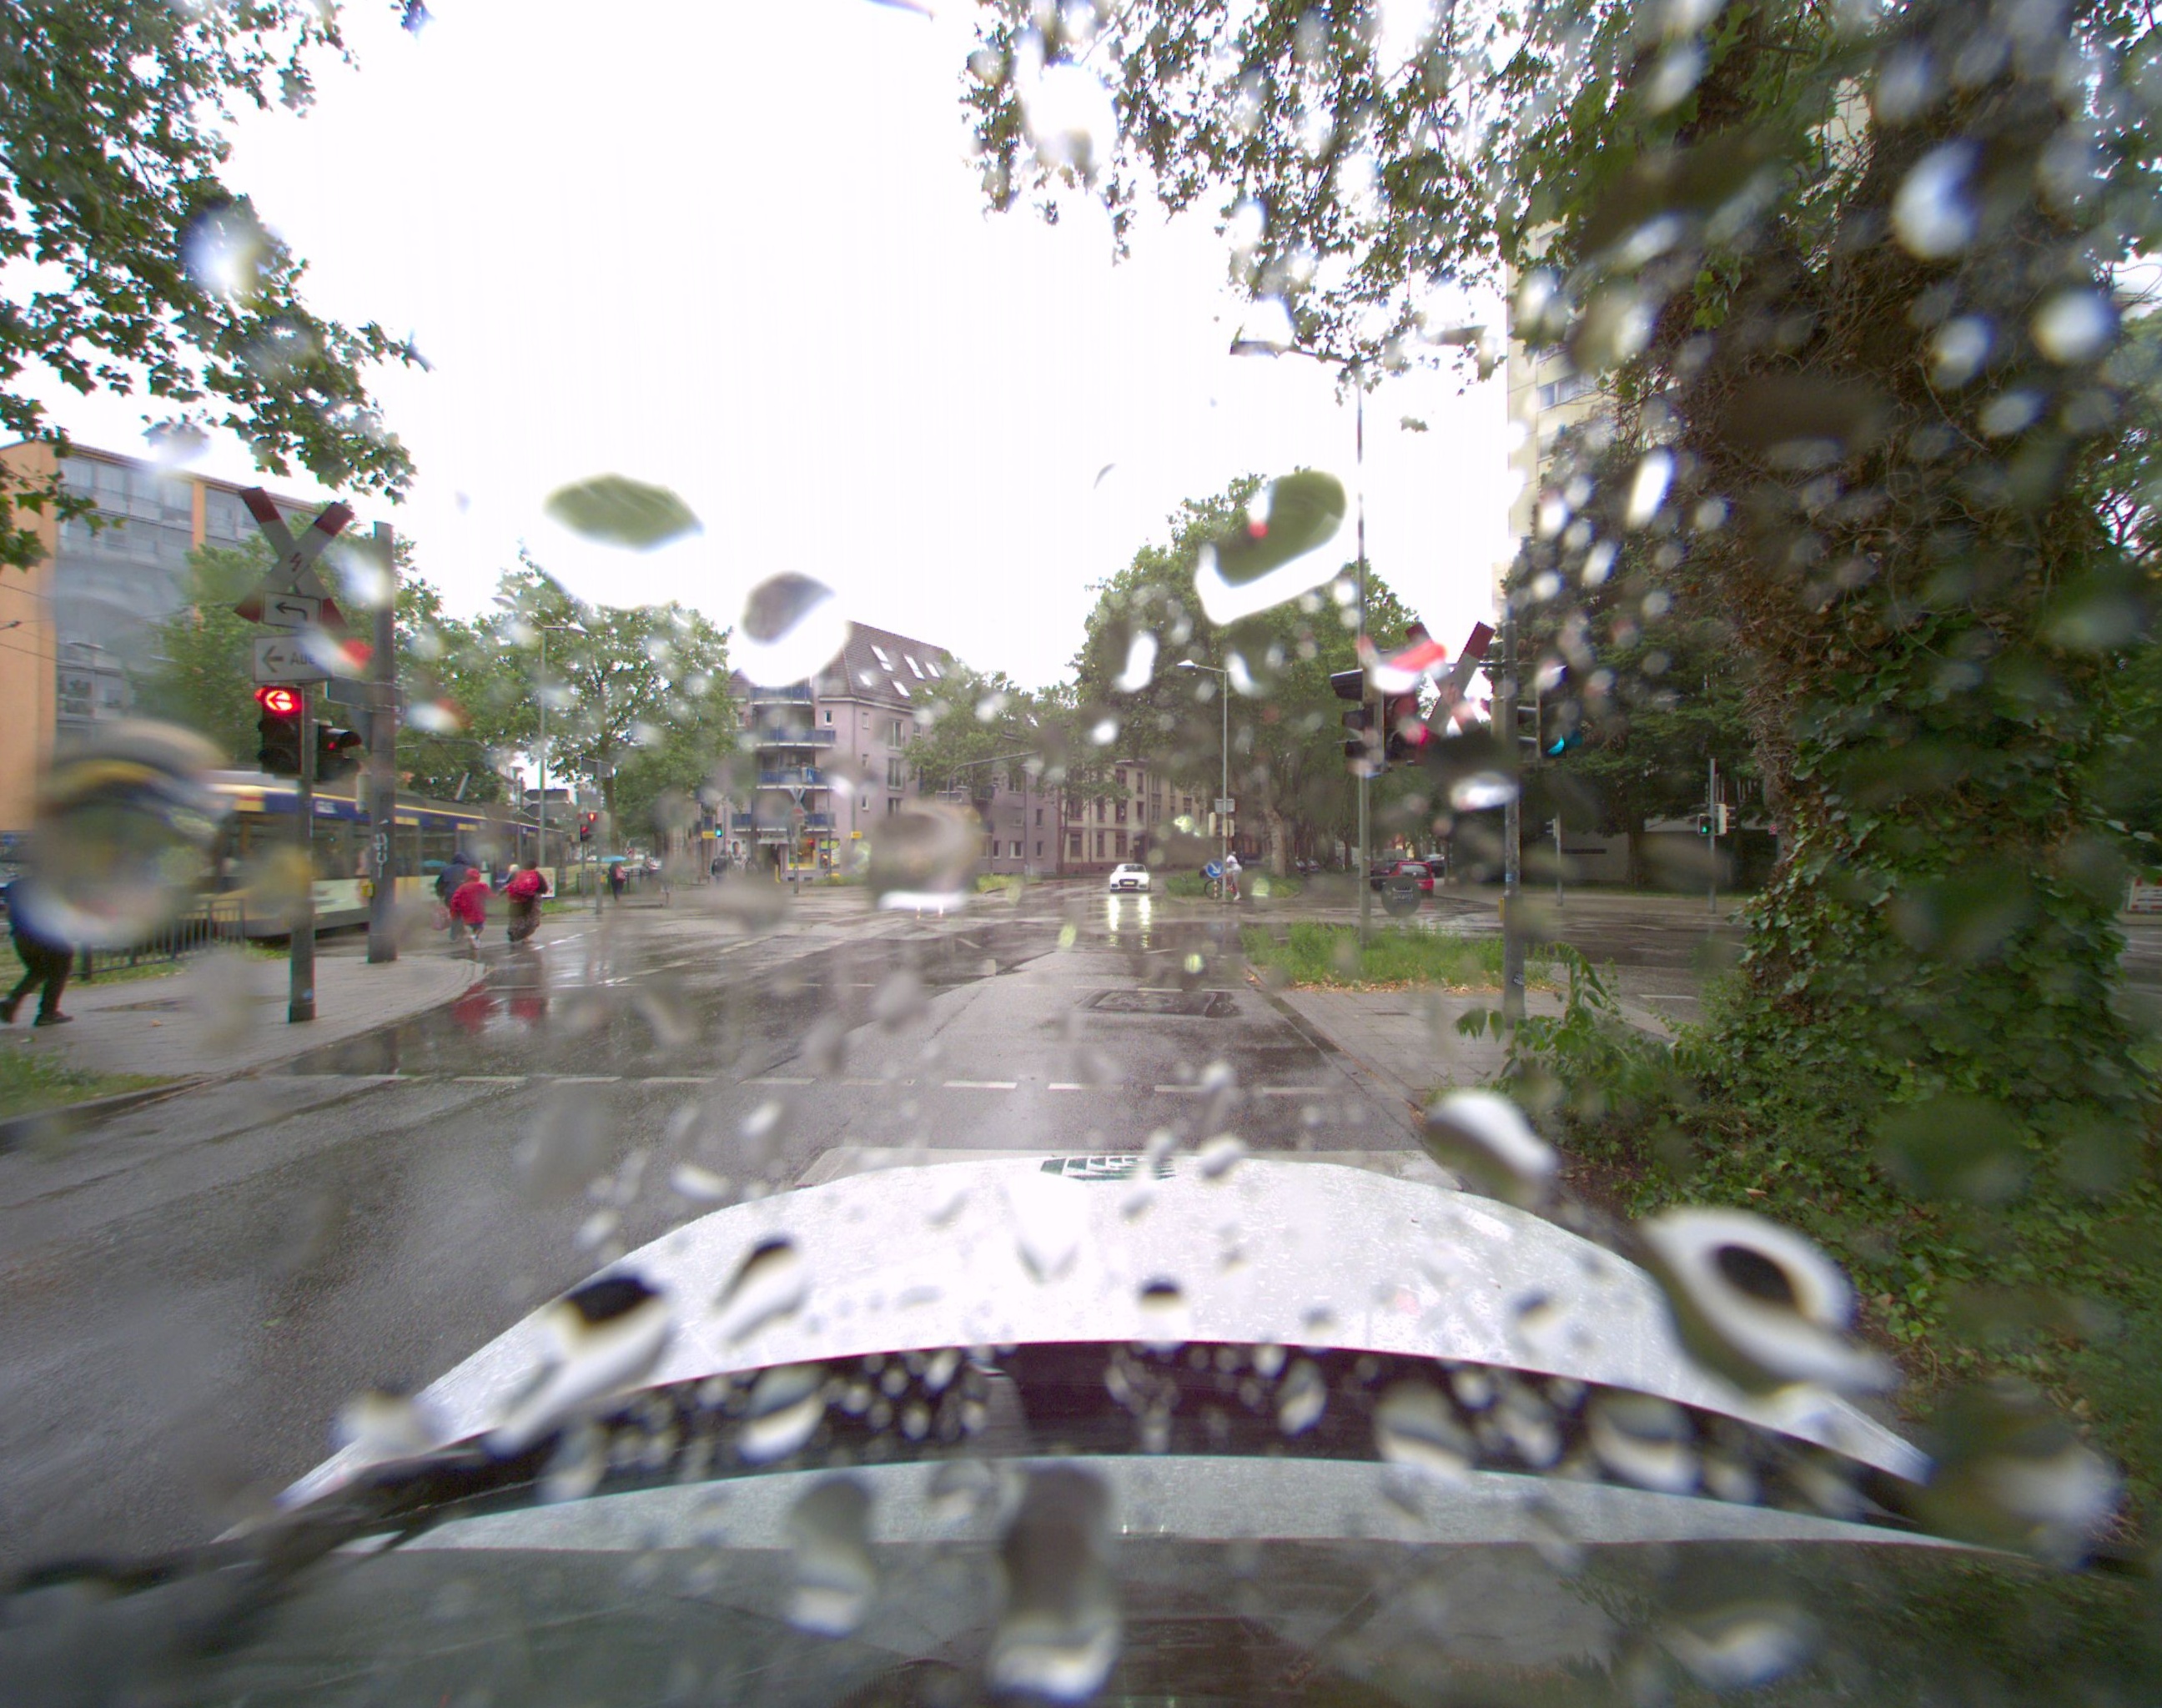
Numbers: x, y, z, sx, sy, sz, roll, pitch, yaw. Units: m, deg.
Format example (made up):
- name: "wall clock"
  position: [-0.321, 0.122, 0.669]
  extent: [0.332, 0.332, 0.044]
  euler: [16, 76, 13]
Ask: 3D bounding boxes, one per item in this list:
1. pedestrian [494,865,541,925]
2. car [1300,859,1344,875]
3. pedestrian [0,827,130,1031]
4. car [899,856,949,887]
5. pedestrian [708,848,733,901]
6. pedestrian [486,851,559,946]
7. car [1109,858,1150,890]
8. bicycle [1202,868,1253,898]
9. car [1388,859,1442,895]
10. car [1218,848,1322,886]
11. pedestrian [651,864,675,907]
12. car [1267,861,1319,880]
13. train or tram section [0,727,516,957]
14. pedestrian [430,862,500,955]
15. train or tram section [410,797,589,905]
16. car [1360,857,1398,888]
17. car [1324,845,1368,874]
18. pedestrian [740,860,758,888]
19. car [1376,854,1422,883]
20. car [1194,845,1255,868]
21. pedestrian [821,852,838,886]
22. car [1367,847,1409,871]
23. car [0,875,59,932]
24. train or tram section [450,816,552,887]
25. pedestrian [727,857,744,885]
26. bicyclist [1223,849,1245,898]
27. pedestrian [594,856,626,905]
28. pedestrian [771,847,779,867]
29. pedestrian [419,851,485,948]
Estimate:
- name: "pedestrian"
  position: [-12.923, 0.929, 18.699]
  extent: [0.657, 1.349, 0.706]
  euler: [0, 0, -12]
- name: "car"
  position: [23.134, 1.257, 78.250]
  extent: [3.958, 1.547, 2.008]
  euler: [-1, -1, 14]
- name: "pedestrian"
  position: [-9.998, 0.684, 7.922]
  extent: [0.876, 1.864, 0.881]
  euler: [0, 0, -43]
- name: "car"
  position: [-8.010, 0.855, 41.831]
  extent: [1.745, 1.512, 3.839]
  euler: [0, 0, 1]
- name: "pedestrian"
  position: [-12.889, 0.733, 29.103]
  extent: [0.791, 1.855, 0.676]
  euler: [0, 0, -22]
- name: "pedestrian"
  position: [-10.020, 0.779, 14.645]
  extent: [0.728, 1.624, 0.816]
  euler: [-1, 1, -5]
- name: "car"
  position: [2.348, 0.937, 39.189]
  extent: [1.876, 1.436, 4.004]
  euler: [0, 0, 4]
- name: "bicycle"
  position: [5.455, 1.069, 30.388]
  extent: [1.862, 1.081, 0.658]
  euler: [-1, -1, 9]
- name: "car"
  position: [14.823, 0.982, 36.324]
  extent: [1.778, 1.498, 4.017]
  euler: [0, 0, 16]
- name: "car"
  position: [7.586, 0.520, 32.694]
  extent: [3.958, 1.486, 2.008]
  euler: [-1, -1, 14]
- name: "pedestrian"
  position: [-13.738, 1.017, 26.762]
  extent: [0.653, 1.396, 0.774]
  euler: [0, 0, -33]
- name: "car"
  position: [16.937, 1.302, 65.230]
  extent: [3.958, 1.486, 2.008]
  euler: [-1, -1, 14]
- name: "train or tram section"
  position: [-18.020, -0.159, 20.174]
  extent: [2.870, 3.545, 15.268]
  euler: [0, 0, -20]
- name: "pedestrian"
  position: [-10.448, 0.910, 13.828]
  extent: [0.680, 1.520, 0.658]
  euler: [-1, 0, -5]
- name: "train or tram section"
  position: [-23.289, -0.076, 33.701]
  extent: [2.871, 3.545, 13.616]
  euler: [0, 0, -22]
- name: "car"
  position: [17.322, 1.065, 47.416]
  extent: [1.769, 1.727, 4.017]
  euler: [-1, -1, 16]
- name: "car"
  position: [28.319, 0.591, 87.206]
  extent: [2.040, 2.948, 4.742]
  euler: [0, -1, -18]
- name: "pedestrian"
  position: [-18.781, 1.127, 46.081]
  extent: [0.755, 1.533, 0.783]
  euler: [0, -1, -38]
- name: "car"
  position: [15.891, 0.697, 40.860]
  extent: [1.770, 1.348, 3.945]
  euler: [0, 1, 16]
- name: "car"
  position: [9.531, 0.160, 54.072]
  extent: [3.838, 1.486, 1.723]
  euler: [-1, -1, 14]
- name: "pedestrian"
  position: [-16.124, 0.984, 52.198]
  extent: [0.913, 2.151, 0.880]
  euler: [0, -1, -25]
- name: "car"
  position: [38.985, 0.645, 103.558]
  extent: [2.006, 2.948, 4.726]
  euler: [0, -1, -29]
- name: "car"
  position: [-32.222, 1.406, 23.585]
  extent: [3.994, 1.530, 1.615]
  euler: [0, 1, 12]
- name: "train or tram section"
  position: [-36.123, -0.038, 51.422]
  extent: [2.897, 3.768, 17.089]
  euler: [0, -1, -28]
- name: "pedestrian"
  position: [-20.132, 1.005, 47.425]
  extent: [0.679, 1.600, 0.957]
  euler: [0, -1, -38]
- name: "bicyclist"
  position: [5.687, 0.715, 30.356]
  extent: [0.790, 1.786, 0.699]
  euler: [-1, -1, 9]
- name: "pedestrian"
  position: [-17.199, 0.958, 29.736]
  extent: [0.962, 1.766, 0.944]
  euler: [0, -1, -28]
- name: "pedestrian"
  position: [-20.671, 0.191, 55.041]
  extent: [0.445, 1.329, 0.558]
  euler: [0, -1, -15]
- name: "pedestrian"
  position: [-11.762, 0.819, 15.222]
  extent: [0.844, 1.698, 0.680]
  euler: [-4, 3, -42]
